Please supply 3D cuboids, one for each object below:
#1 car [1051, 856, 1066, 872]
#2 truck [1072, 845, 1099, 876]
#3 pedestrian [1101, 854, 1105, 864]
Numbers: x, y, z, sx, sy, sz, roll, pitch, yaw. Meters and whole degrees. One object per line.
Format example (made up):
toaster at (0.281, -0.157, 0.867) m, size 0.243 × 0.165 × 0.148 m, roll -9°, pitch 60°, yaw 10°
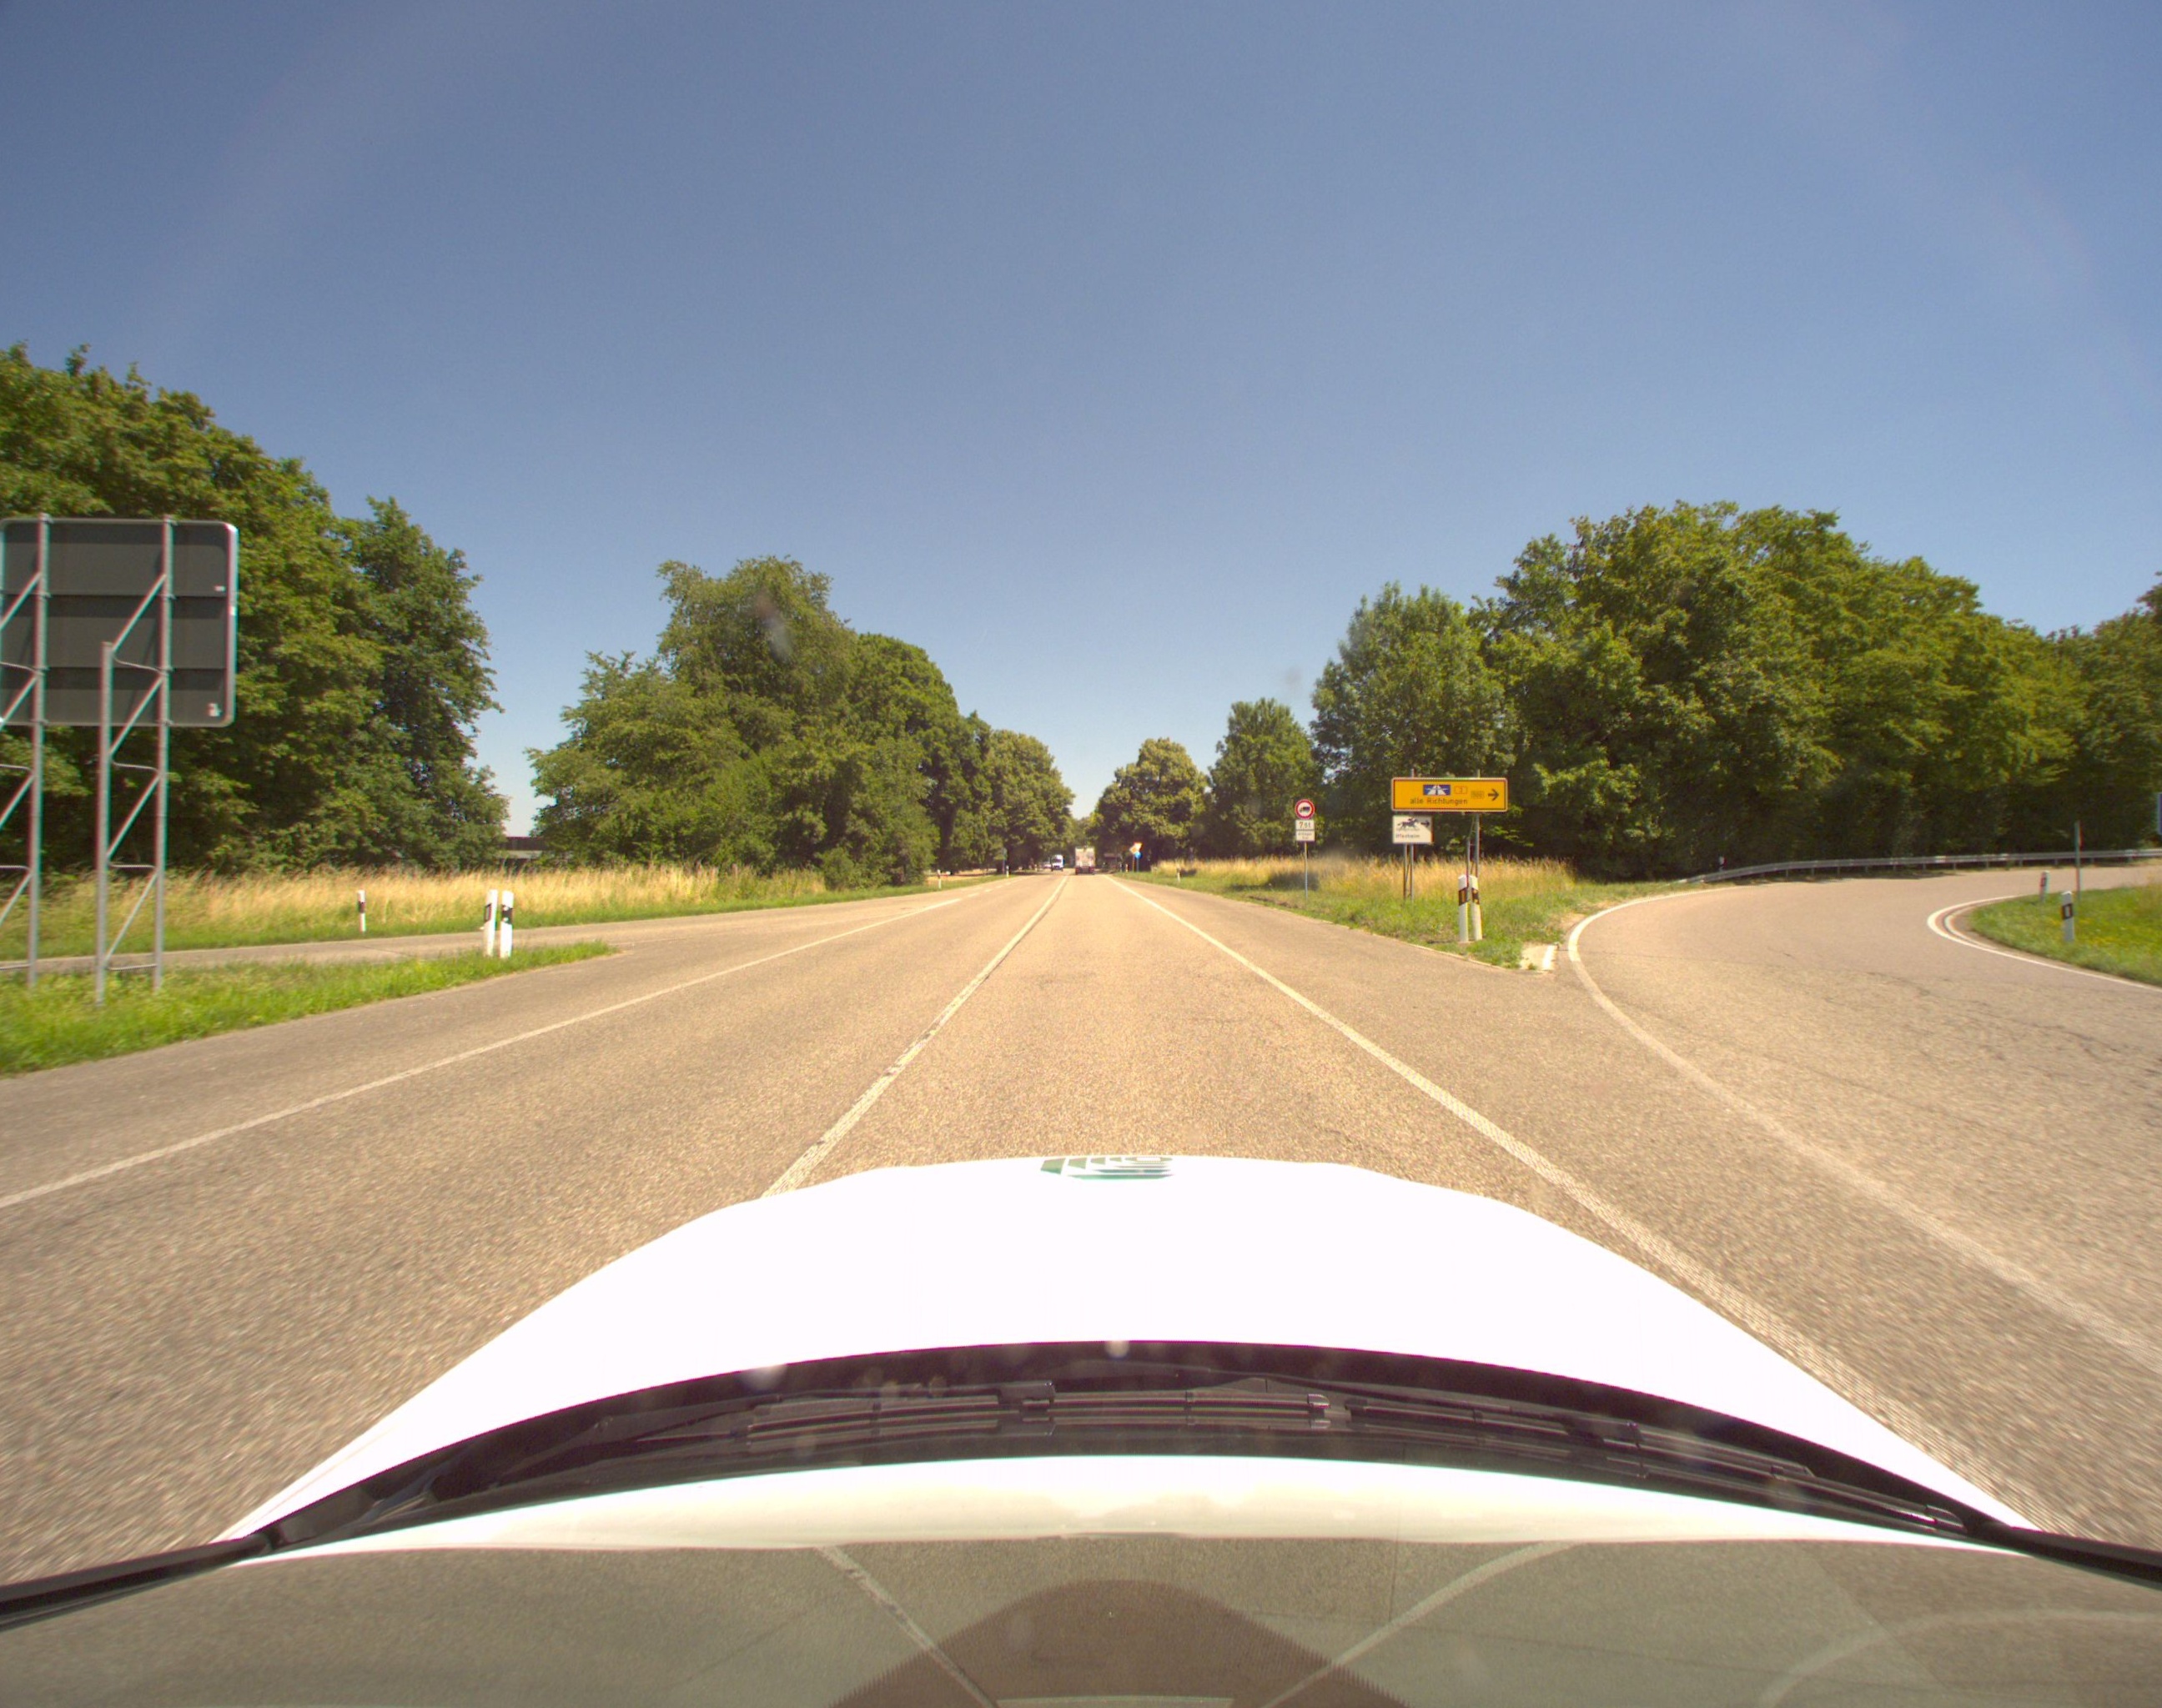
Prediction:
car at (-3.738, 1.734, 137.694) m, size 2.066 × 2.628 × 6.785 m, roll -1°, pitch -1°, yaw 2°
truck at (0.517, 0.654, 86.612) m, size 2.522 × 3.135 × 5.366 m, roll -1°, pitch 0°, yaw 4°
pedestrian at (3.924, 0.923, 145.526) m, size 0.545 × 1.776 × 0.578 m, roll -1°, pitch -1°, yaw 4°
